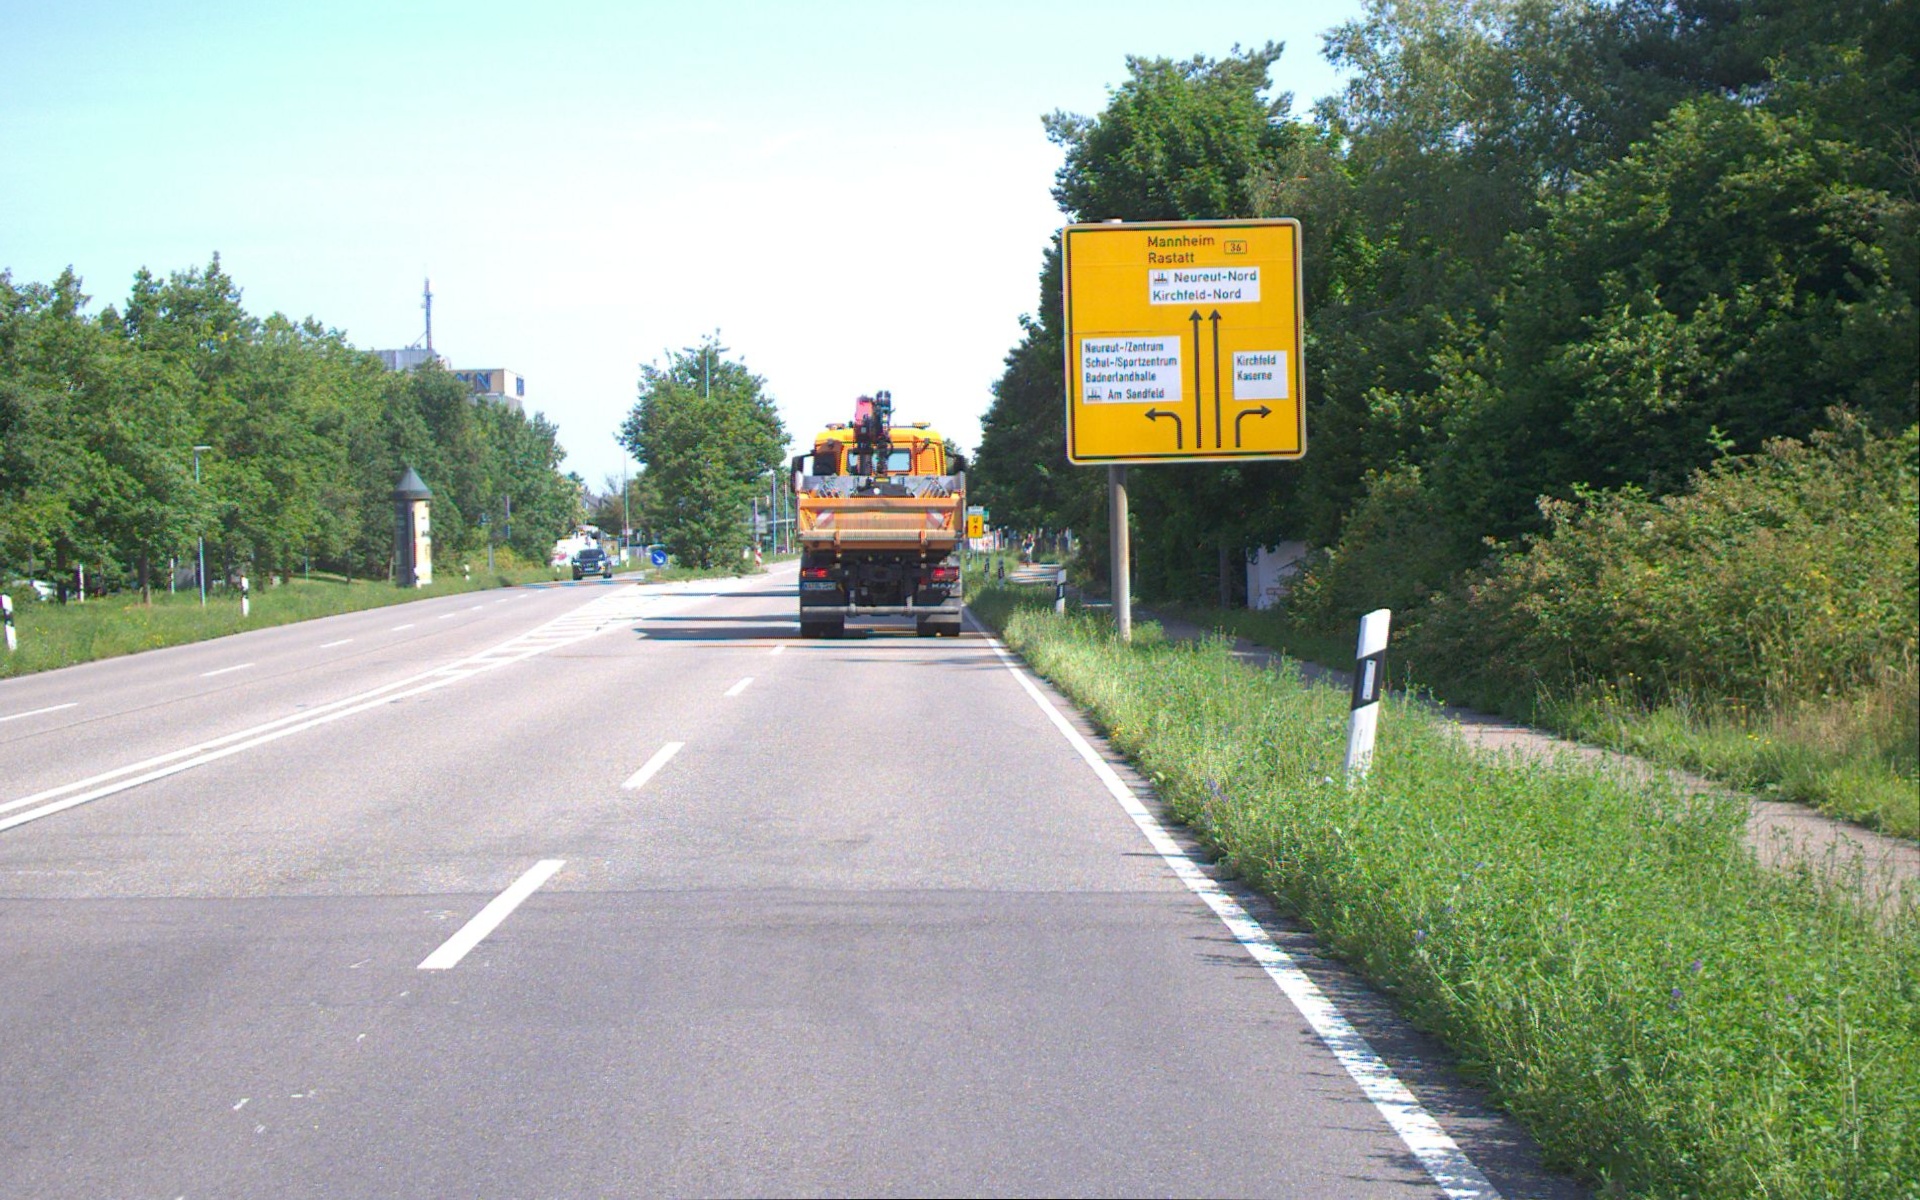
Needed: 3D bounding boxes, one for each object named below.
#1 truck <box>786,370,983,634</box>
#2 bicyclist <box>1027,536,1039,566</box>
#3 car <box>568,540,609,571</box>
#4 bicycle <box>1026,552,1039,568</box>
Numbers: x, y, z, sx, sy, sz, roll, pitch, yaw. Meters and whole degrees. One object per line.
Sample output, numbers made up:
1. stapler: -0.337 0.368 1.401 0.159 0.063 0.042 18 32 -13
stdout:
1. truck: -1.305 -1.517 54.657 2.871 3.867 7.401 1 1 -3
2. bicyclist: 3.800 -2.566 179.974 0.558 1.552 0.557 -2 1 -1
3. car: -20.068 -2.415 185.787 1.800 1.566 4.000 -2 1 -1
4. bicycle: 3.813 -2.091 179.983 0.558 0.813 1.964 -2 1 -1
